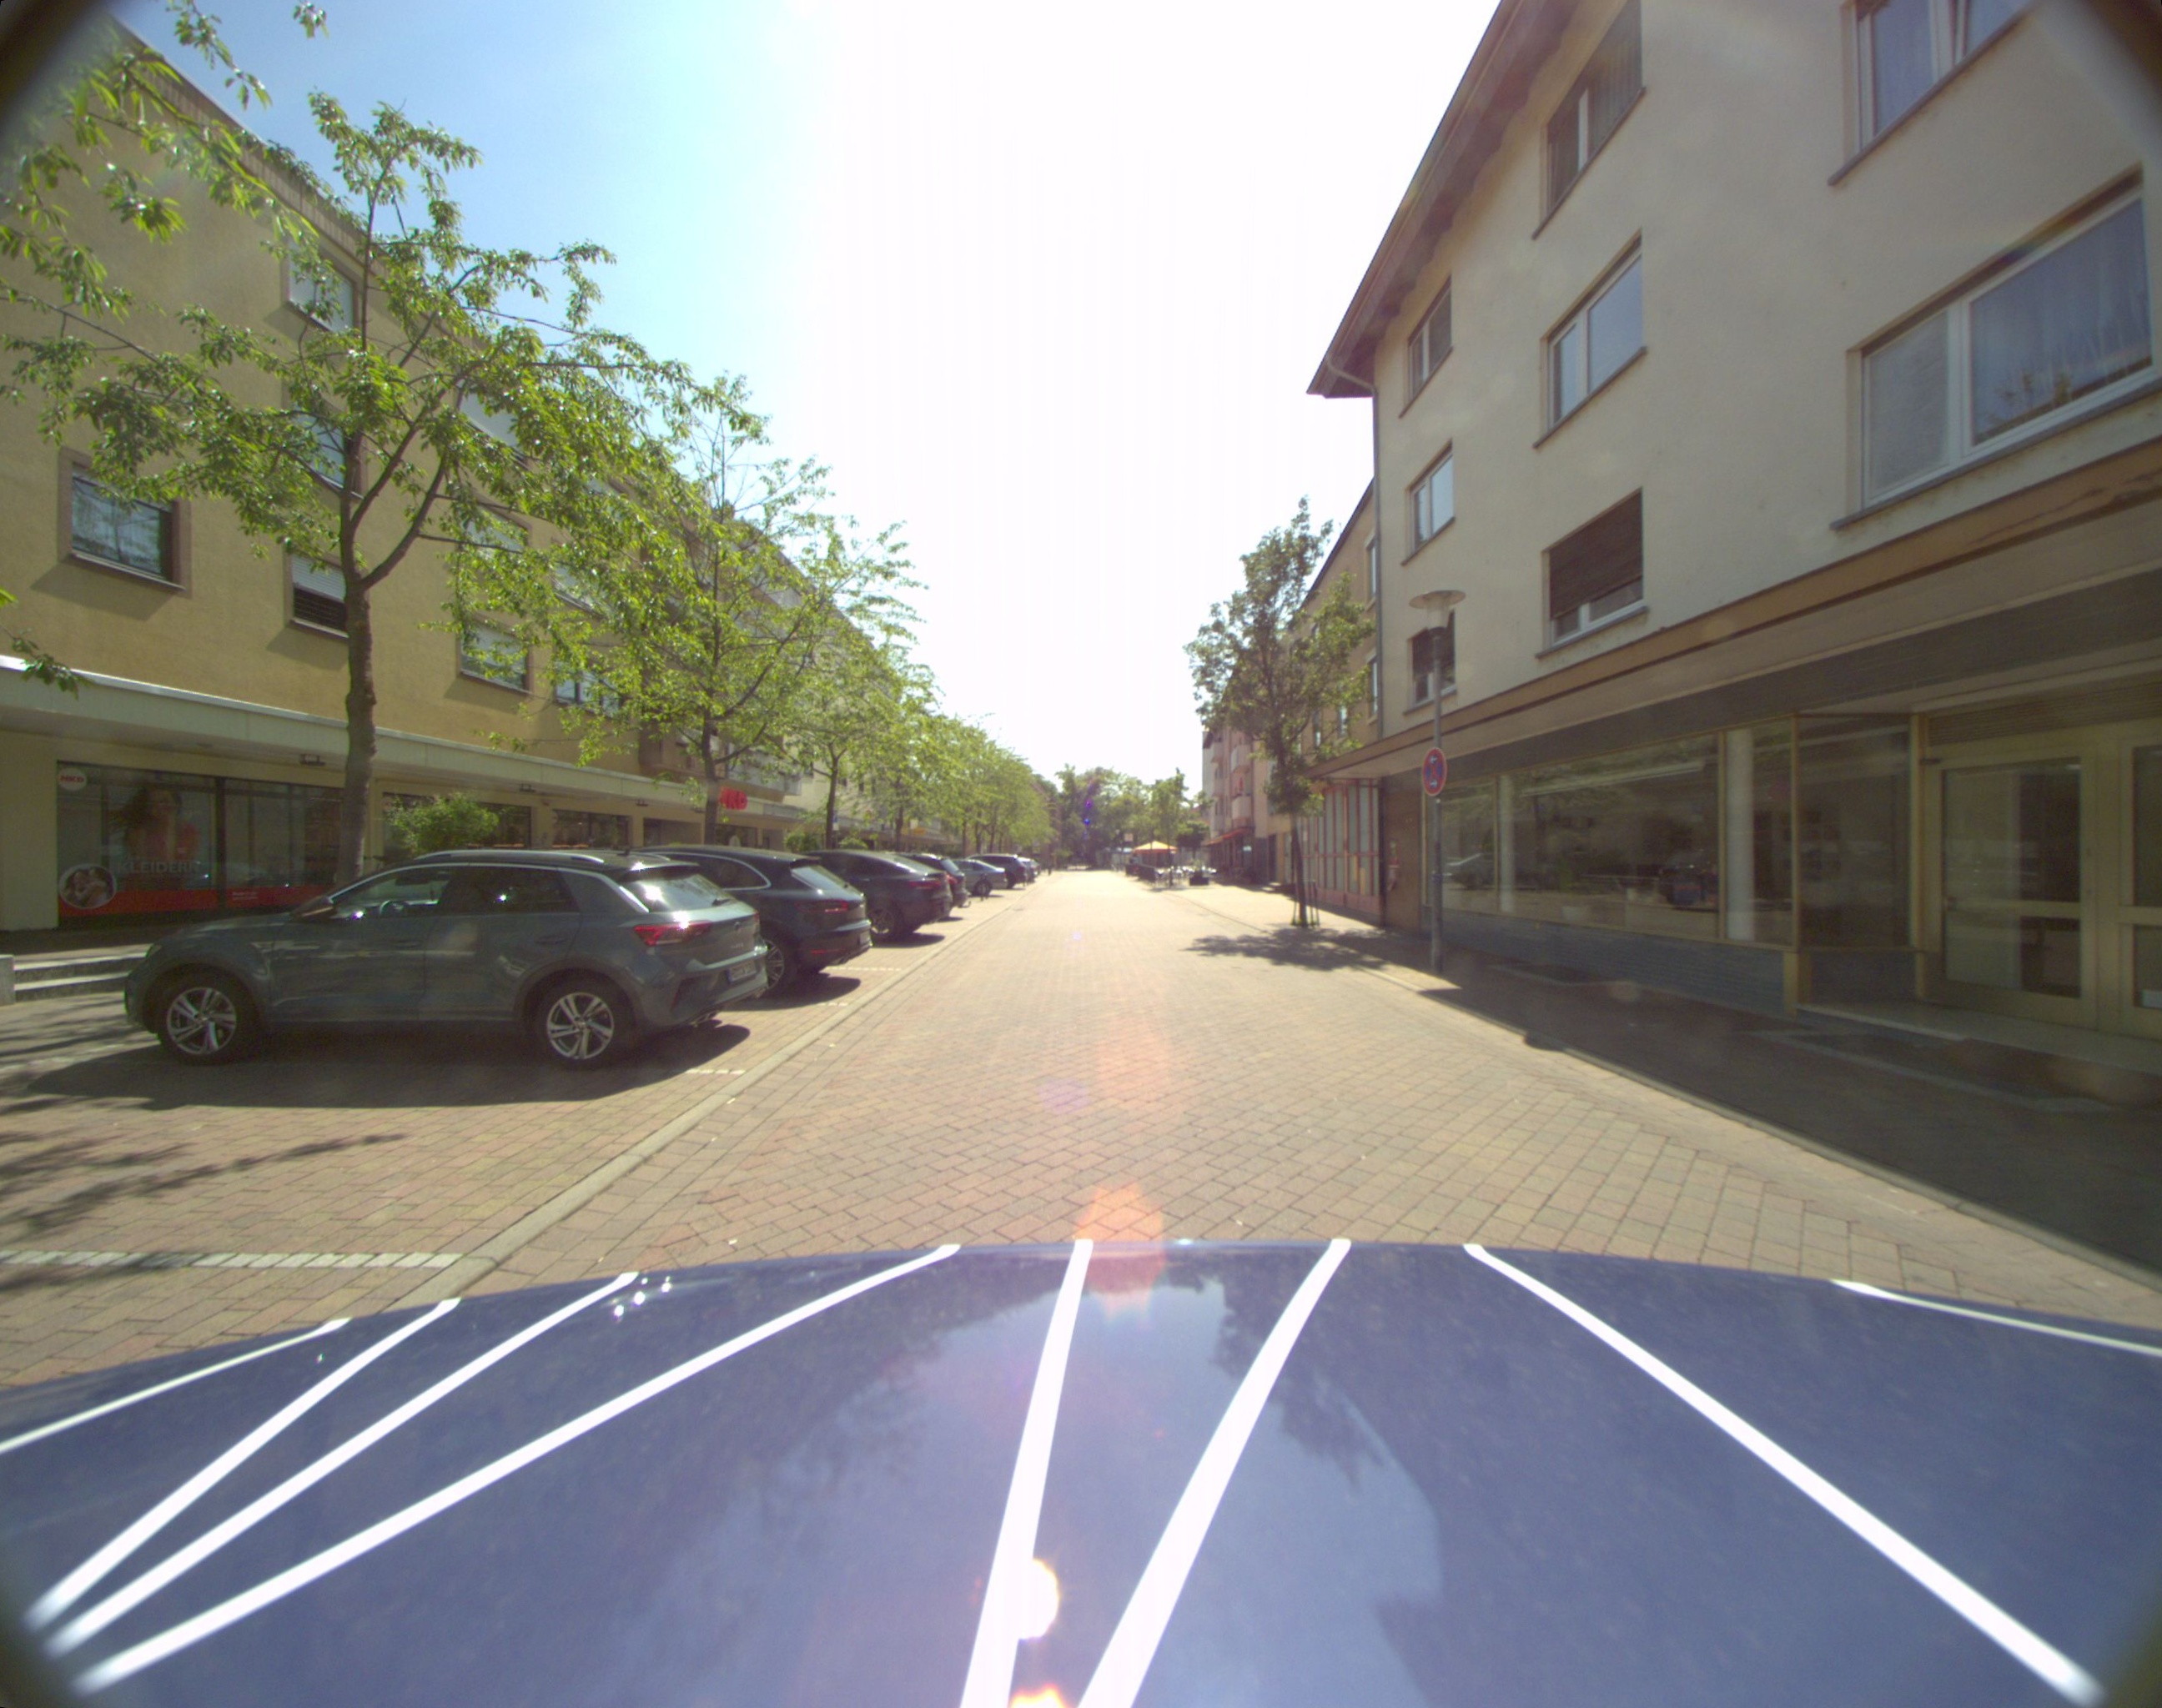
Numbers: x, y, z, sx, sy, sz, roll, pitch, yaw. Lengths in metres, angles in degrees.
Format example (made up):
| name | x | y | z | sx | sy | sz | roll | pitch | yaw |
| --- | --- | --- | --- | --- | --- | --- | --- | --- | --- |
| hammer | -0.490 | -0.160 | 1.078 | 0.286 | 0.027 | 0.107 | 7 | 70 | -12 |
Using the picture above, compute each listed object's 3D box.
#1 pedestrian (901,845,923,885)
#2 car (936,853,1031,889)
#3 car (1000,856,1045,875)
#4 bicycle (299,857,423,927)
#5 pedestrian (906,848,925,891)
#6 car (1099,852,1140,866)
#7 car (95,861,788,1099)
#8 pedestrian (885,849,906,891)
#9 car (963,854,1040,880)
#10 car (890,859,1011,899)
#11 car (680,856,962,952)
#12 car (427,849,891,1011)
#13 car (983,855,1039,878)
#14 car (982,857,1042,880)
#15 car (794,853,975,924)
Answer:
| name | x | y | z | sx | sy | sz | roll | pitch | yaw |
| --- | --- | --- | --- | --- | --- | --- | --- | --- | --- |
| pedestrian | -7.483 | 0.490 | 33.648 | 0.614 | 1.721 | 0.649 | -1 | 1 | 34 |
| car | -4.550 | 0.788 | 35.864 | 4.255 | 1.608 | 1.756 | 1 | 0 | -2 |
| car | -4.631 | 0.907 | 59.940 | 3.401 | 1.382 | 1.460 | 1 | 0 | 0 |
| bicycle | -12.706 | 0.632 | 13.485 | 0.413 | 1.117 | 1.774 | -2 | 1 | 2 |
| pedestrian | -7.076 | 0.654 | 32.488 | 0.607 | 1.785 | 0.626 | -1 | 1 | -28 |
| car | 4.217 | 0.553 | 82.502 | 4.335 | 1.459 | 1.777 | -1 | 0 | 6 |
| car | -4.690 | 0.874 | 6.079 | 3.954 | 1.525 | 1.823 | 1 | 0 | -1 |
| pedestrian | -7.820 | 0.659 | 32.037 | 0.633 | 1.763 | 0.685 | -1 | 1 | -38 |
| car | -4.923 | 0.787 | 47.284 | 4.586 | 1.534 | 1.807 | 1 | 0 | 0 |
| car | -5.105 | 0.930 | 29.720 | 4.391 | 1.455 | 1.887 | 0 | 1 | -20 |
| car | -4.617 | 0.849 | 13.969 | 4.519 | 1.579 | 1.850 | 1 | 0 | 2 |
| car | -4.619 | 0.797 | 8.906 | 4.290 | 1.671 | 2.000 | 0 | 0 | -2 |
| car | -4.807 | 0.858 | 52.394 | 3.652 | 1.508 | 1.633 | 1 | 0 | 0 |
| car | -4.488 | 0.926 | 49.835 | 3.800 | 1.423 | 1.614 | 1 | 0 | 0 |
| car | -4.789 | 0.828 | 18.880 | 4.037 | 1.603 | 1.681 | 1 | 1 | -1 |
